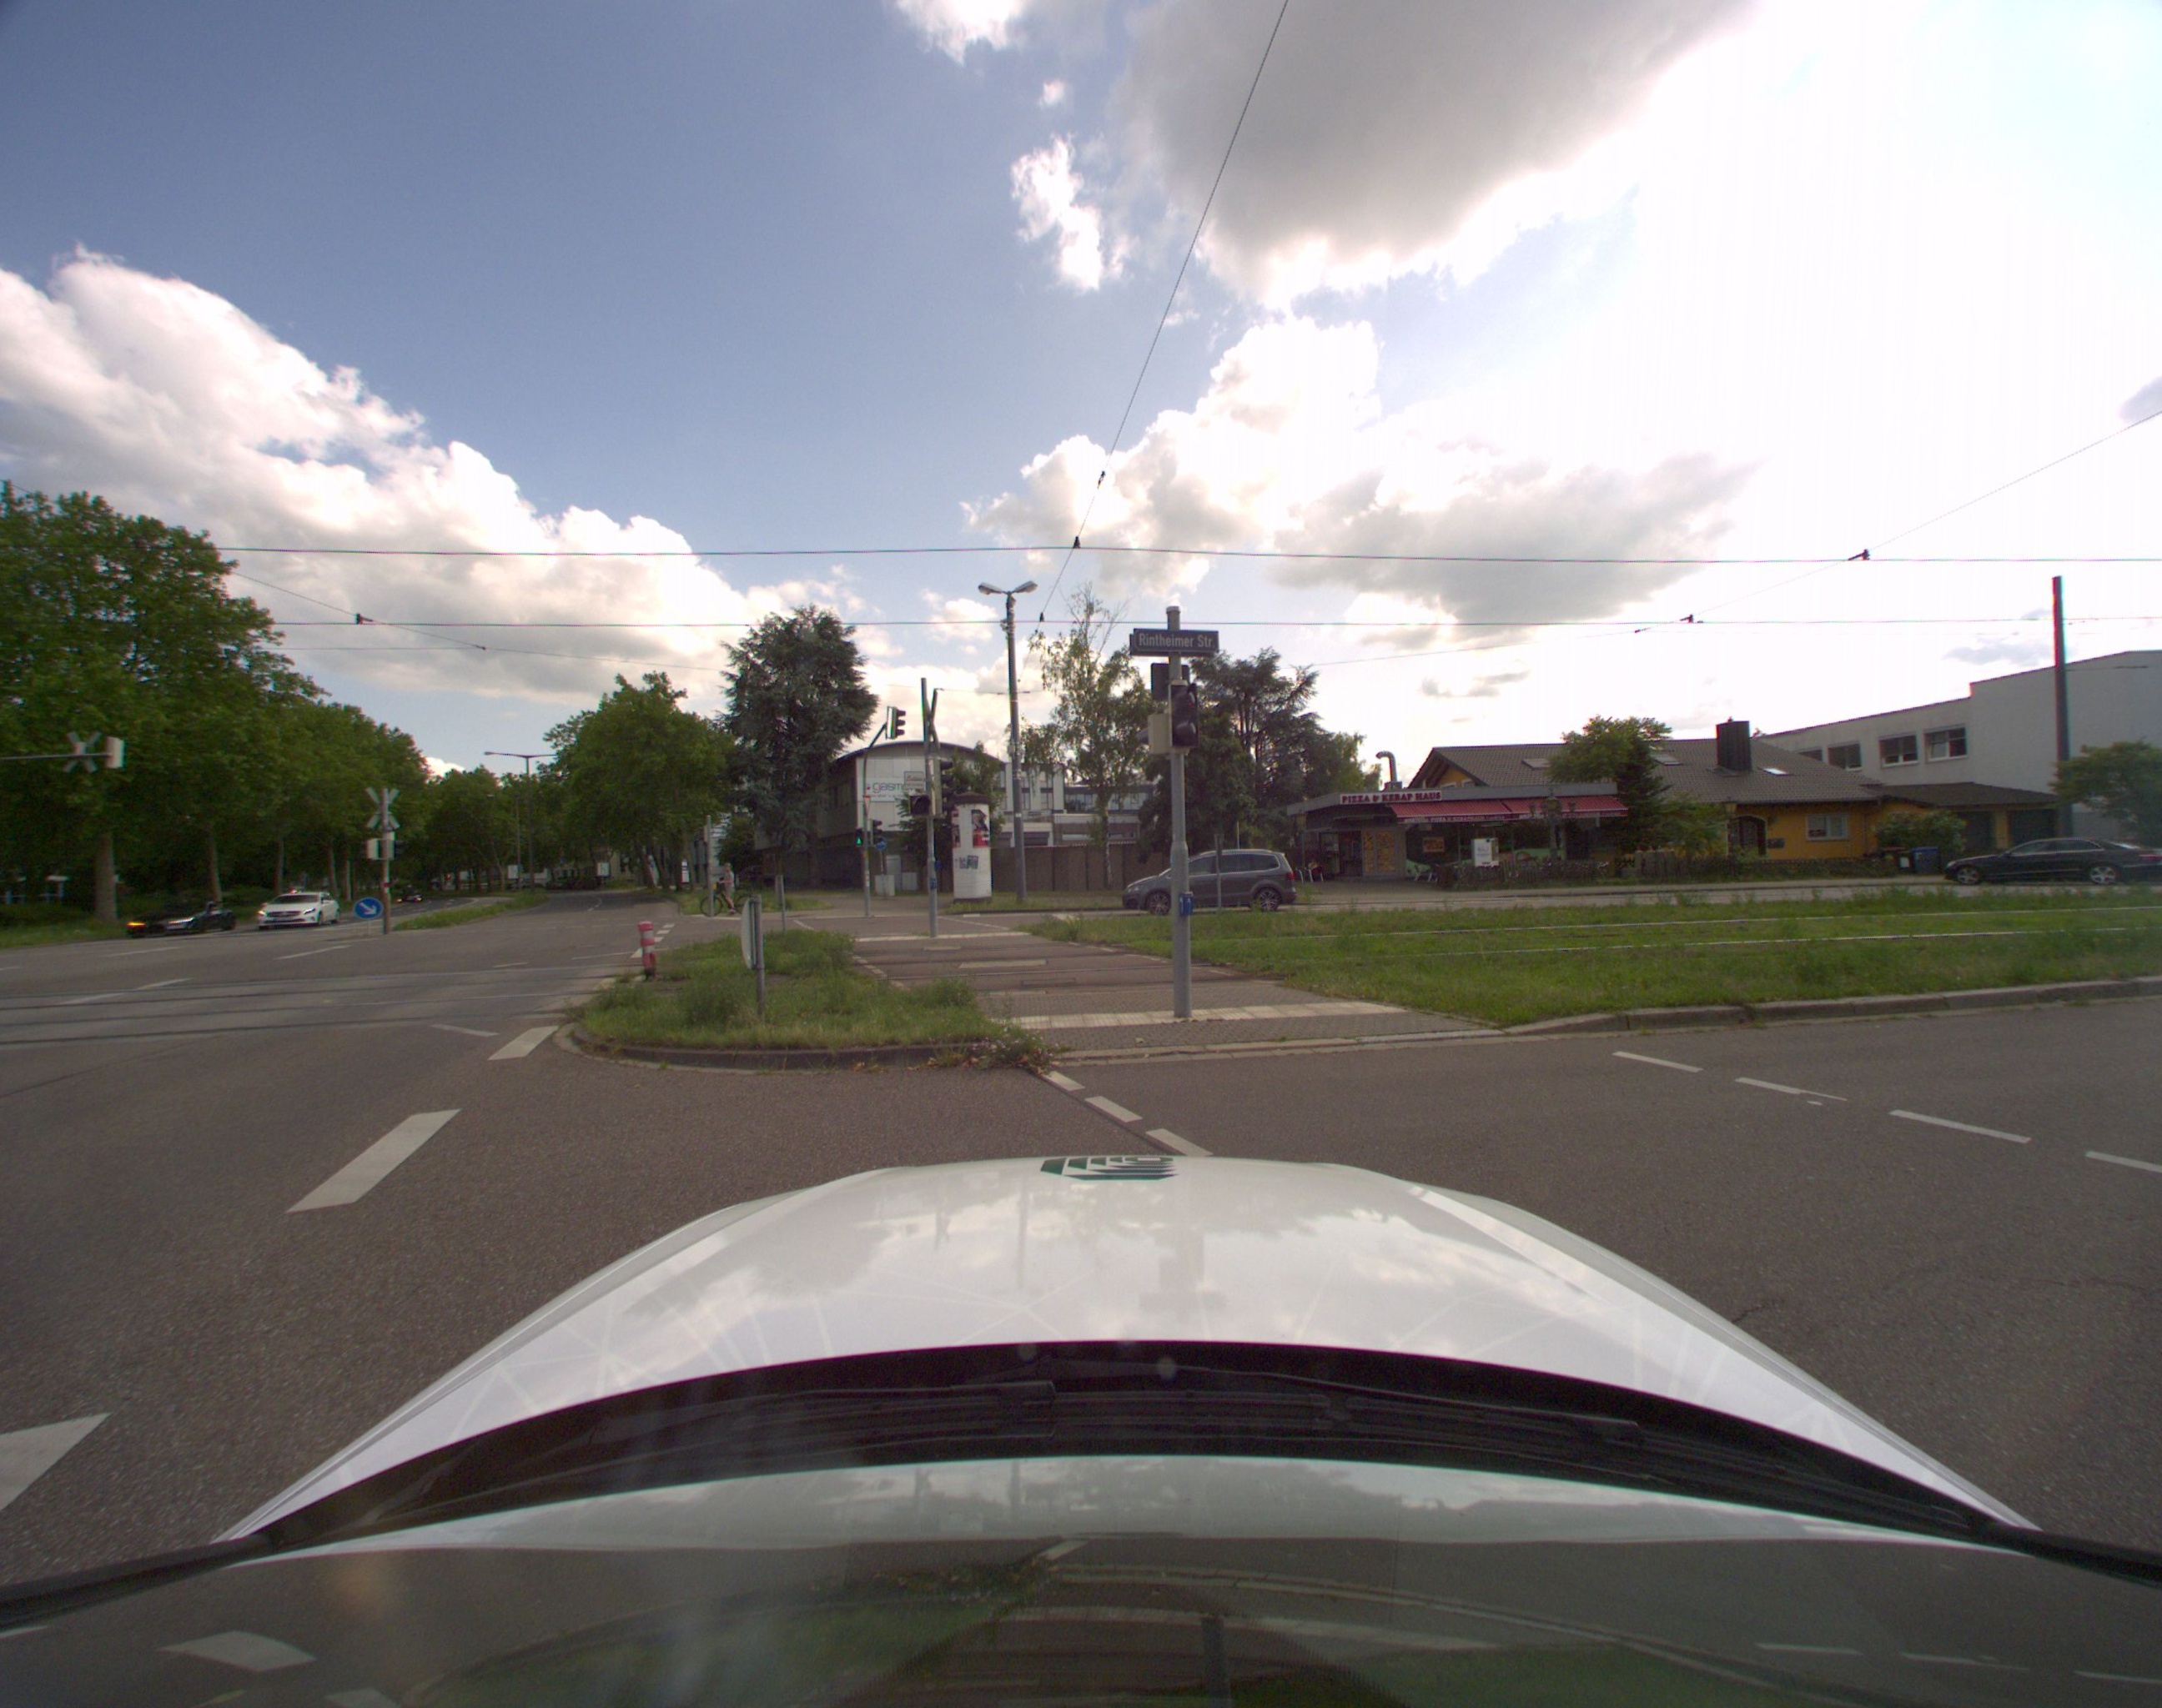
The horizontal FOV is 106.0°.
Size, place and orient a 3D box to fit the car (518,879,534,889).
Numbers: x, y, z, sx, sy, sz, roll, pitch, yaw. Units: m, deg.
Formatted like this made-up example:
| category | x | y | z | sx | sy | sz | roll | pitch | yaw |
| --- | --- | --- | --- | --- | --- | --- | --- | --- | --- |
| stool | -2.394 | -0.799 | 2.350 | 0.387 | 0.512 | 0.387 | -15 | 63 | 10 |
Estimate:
| category | x | y | z | sx | sy | sz | roll | pitch | yaw |
| --- | --- | --- | --- | --- | --- | --- | --- | --- | --- |
| car | -100.219 | 5.409 | 147.042 | 2.010 | 1.574 | 3.954 | -2 | 2 | -39 |

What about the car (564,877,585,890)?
| category | x | y | z | sx | sy | sz | roll | pitch | yaw |
| --- | --- | --- | --- | --- | --- | --- | --- | --- | --- |
| car | -73.346 | 4.273 | 117.897 | 2.010 | 1.574 | 3.954 | -2 | 2 | -39 |

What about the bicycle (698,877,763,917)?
| category | x | y | z | sx | sy | sz | roll | pitch | yaw |
| --- | --- | --- | --- | --- | --- | --- | --- | --- | --- |
| bicycle | -11.925 | 1.463 | 27.743 | 1.951 | 1.235 | 0.538 | -2 | 1 | -18 |

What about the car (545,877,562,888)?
| category | x | y | z | sx | sy | sz | roll | pitch | yaw |
| --- | --- | --- | --- | --- | --- | --- | --- | --- | --- |
| car | -89.632 | 4.864 | 138.358 | 2.010 | 1.574 | 3.954 | -2 | 2 | -39 |

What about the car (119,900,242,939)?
| category | x | y | z | sx | sy | sz | roll | pitch | yaw |
| --- | --- | --- | --- | --- | --- | --- | --- | --- | --- |
| car | -34.994 | 2.510 | 31.786 | 1.640 | 1.192 | 3.683 | -2 | -1 | -20 |

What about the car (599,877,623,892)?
| category | x | y | z | sx | sy | sz | roll | pitch | yaw |
| --- | --- | --- | --- | --- | --- | --- | --- | --- | --- |
| car | -59.576 | 3.844 | 103.202 | 2.010 | 1.574 | 3.954 | -2 | 2 | -39 |

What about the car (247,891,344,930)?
| category | x | y | z | sx | sy | sz | roll | pitch | yaw |
| --- | --- | --- | --- | --- | --- | --- | --- | --- | --- |
| car | -32.532 | 2.305 | 33.856 | 1.836 | 1.364 | 4.099 | -2 | -1 | -29 |

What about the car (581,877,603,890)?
| category | x | y | z | sx | sy | sz | roll | pitch | yaw |
| --- | --- | --- | --- | --- | --- | --- | --- | --- | --- |
| car | -67.321 | 4.088 | 112.099 | 2.010 | 1.574 | 3.954 | -2 | 2 | -39 |

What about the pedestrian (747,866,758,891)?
| category | x | y | z | sx | sy | sz | roll | pitch | yaw |
| --- | --- | --- | --- | --- | --- | --- | --- | --- | --- |
| pedestrian | -22.121 | 1.644 | 54.836 | 0.624 | 1.569 | 0.554 | -2 | 1 | -27 |

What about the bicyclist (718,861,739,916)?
| category | x | y | z | sx | sy | sz | roll | pitch | yaw |
| --- | --- | --- | --- | --- | --- | --- | --- | --- | --- |
| bicyclist | -11.990 | 1.153 | 27.710 | 0.544 | 1.809 | 0.538 | -2 | 1 | -18 |

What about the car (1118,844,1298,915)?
| category | x | y | z | sx | sy | sz | roll | pitch | yaw |
| --- | --- | --- | --- | --- | --- | --- | --- | --- | --- |
| car | 3.433 | 0.695 | 22.724 | 4.708 | 1.722 | 2.000 | -2 | -1 | 1 |

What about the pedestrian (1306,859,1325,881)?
| category | x | y | z | sx | sy | sz | roll | pitch | yaw |
| --- | --- | --- | --- | --- | --- | --- | --- | --- | --- |
| pedestrian | 10.784 | 0.732 | 37.460 | 0.721 | 0.929 | 0.778 | -1 | 1 | 5 |

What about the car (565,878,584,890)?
| category | x | y | z | sx | sy | sz | roll | pitch | yaw |
| --- | --- | --- | --- | --- | --- | --- | --- | --- | --- |
| car | -78.904 | 4.696 | 126.946 | 2.010 | 1.574 | 3.954 | -2 | 2 | -39 |

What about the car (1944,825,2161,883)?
| category | x | y | z | sx | sy | sz | roll | pitch | yaw |
| --- | --- | --- | --- | --- | --- | --- | --- | --- | --- |
| car | 30.349 | 0.044 | 25.181 | 2.000 | 1.580 | 4.549 | -2 | -2 | -19 |
